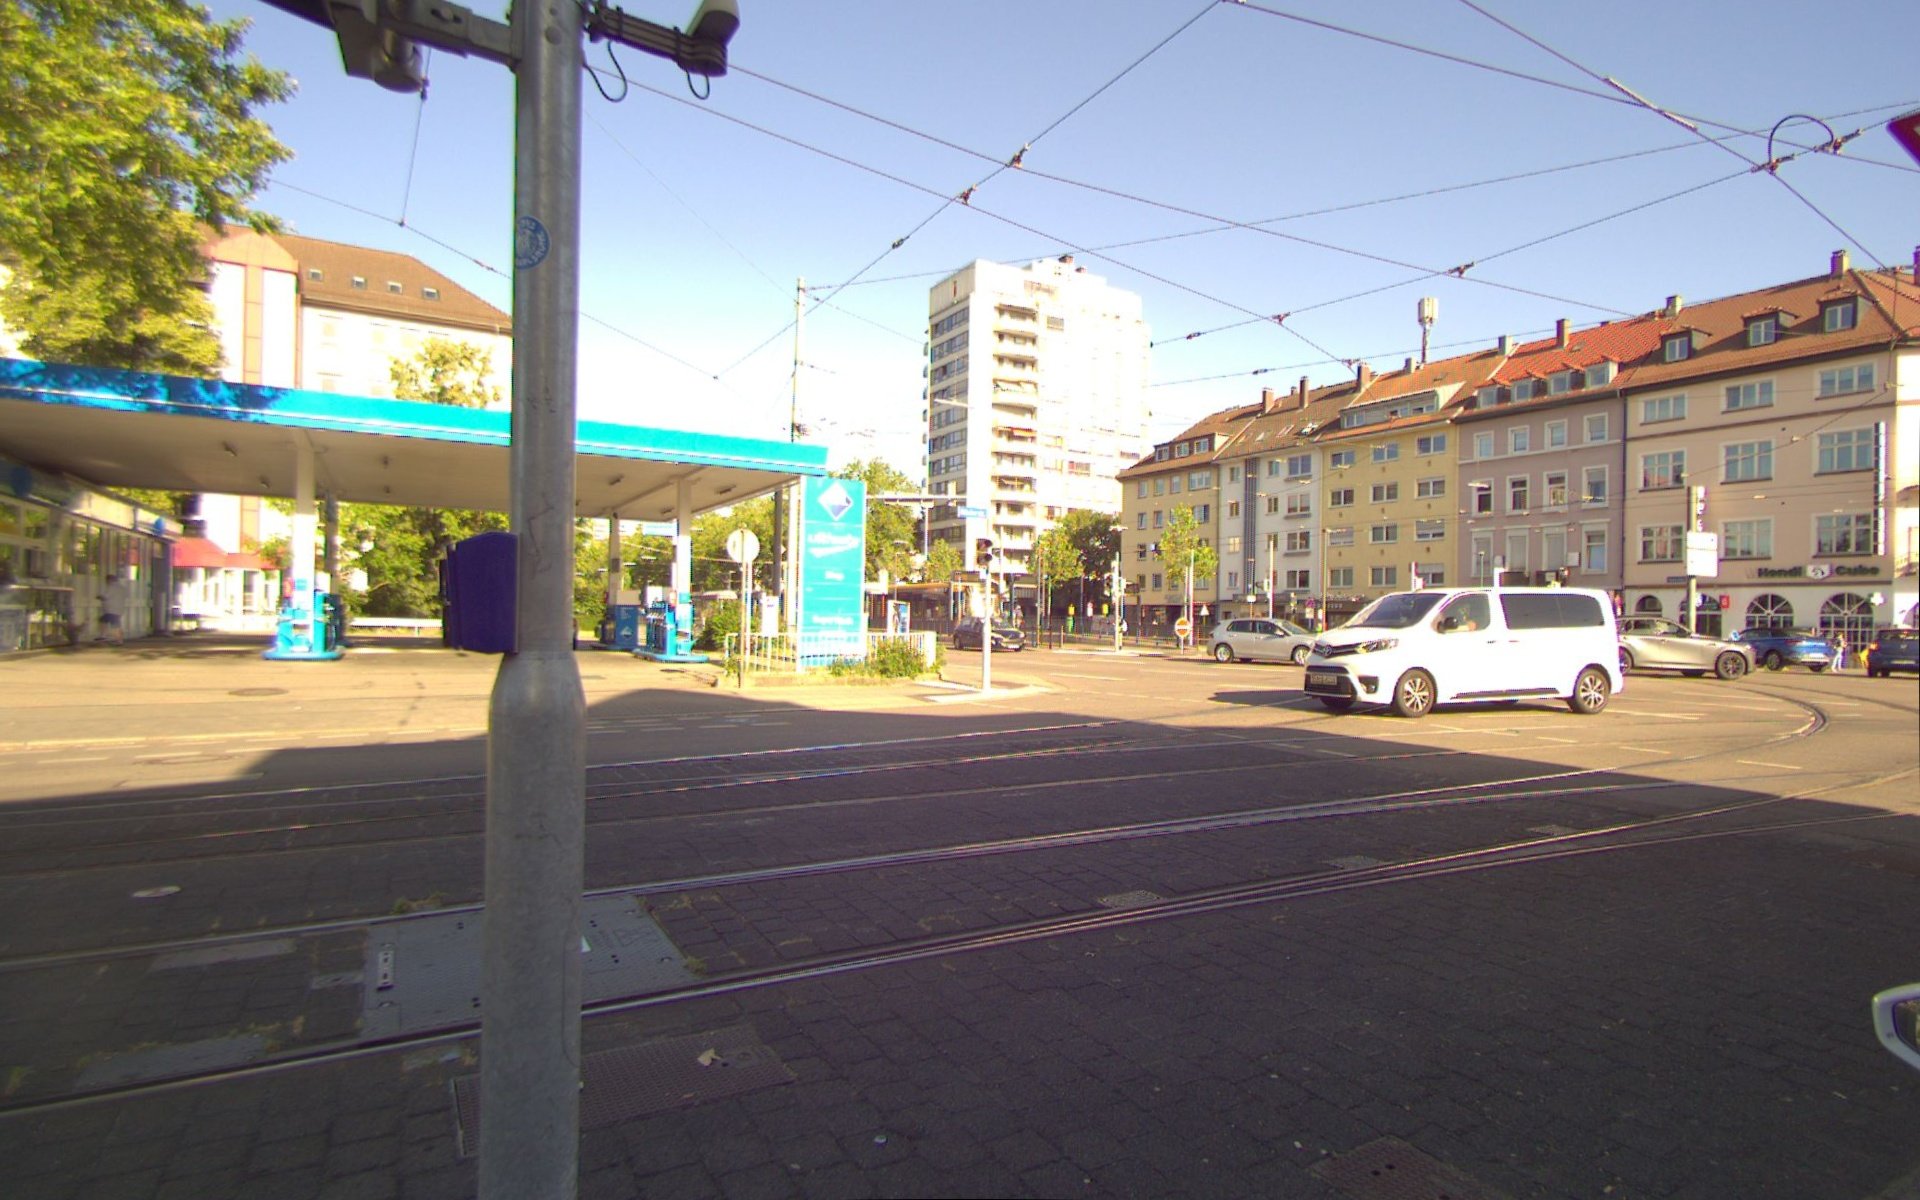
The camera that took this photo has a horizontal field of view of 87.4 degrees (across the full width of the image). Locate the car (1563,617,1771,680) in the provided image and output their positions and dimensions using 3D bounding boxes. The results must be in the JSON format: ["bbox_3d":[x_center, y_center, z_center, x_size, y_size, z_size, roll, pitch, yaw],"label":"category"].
[{"bbox_3d":[19.591,1.317,28.003,4.364,1.623,1.875,0,-1,7],"label":"car"}]

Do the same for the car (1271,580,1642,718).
[{"bbox_3d":[7.590,0.720,15.437,5.130,1.878,1.993,1,-1,-16],"label":"car"}]

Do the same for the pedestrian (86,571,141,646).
[{"bbox_3d":[-20.010,0.216,23.760,0.838,1.724,0.644,2,-3,-31],"label":"pedestrian"}]

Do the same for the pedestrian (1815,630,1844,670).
[{"bbox_3d":[36.235,2.095,41.855,0.805,1.615,0.665,2,0,-30],"label":"pedestrian"}]

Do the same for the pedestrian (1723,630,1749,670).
[{"bbox_3d":[33.352,2.157,43.185,0.831,1.670,0.579,2,0,-30],"label":"pedestrian"}]

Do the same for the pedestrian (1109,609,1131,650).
[{"bbox_3d":[6.518,1.207,40.897,0.750,1.631,0.613,2,0,15],"label":"pedestrian"}]

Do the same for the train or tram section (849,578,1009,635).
[{"bbox_3d":[-2.478,0.302,63.728,2.821,3.179,16.611,2,0,-29],"label":"train or tram section"}]

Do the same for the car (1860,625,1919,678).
[{"bbox_3d":[28.985,1.538,30.758,3.891,1.523,1.768,1,-1,-42],"label":"car"}]

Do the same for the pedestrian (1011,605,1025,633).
[{"bbox_3d":[4.460,1.440,76.767,0.729,2.127,0.880,2,0,-21],"label":"pedestrian"}]

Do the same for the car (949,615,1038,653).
[{"bbox_3d":[1.366,1.440,43.147,1.976,1.537,4.177,1,-1,-29],"label":"car"}]

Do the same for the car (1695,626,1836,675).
[{"bbox_3d":[29.435,1.796,36.868,1.795,1.596,4.199,1,0,0],"label":"car"}]

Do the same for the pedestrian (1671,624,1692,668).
[{"bbox_3d":[30.935,1.948,43.049,0.670,1.847,0.523,2,0,-37],"label":"pedestrian"}]

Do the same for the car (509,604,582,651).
[{"bbox_3d":[-13.513,0.866,32.644,1.659,1.372,3.559,2,0,-31],"label":"car"}]

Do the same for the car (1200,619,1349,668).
[{"bbox_3d":[9.800,1.316,31.488,4.169,1.408,1.725,0,-1,43],"label":"car"}]
